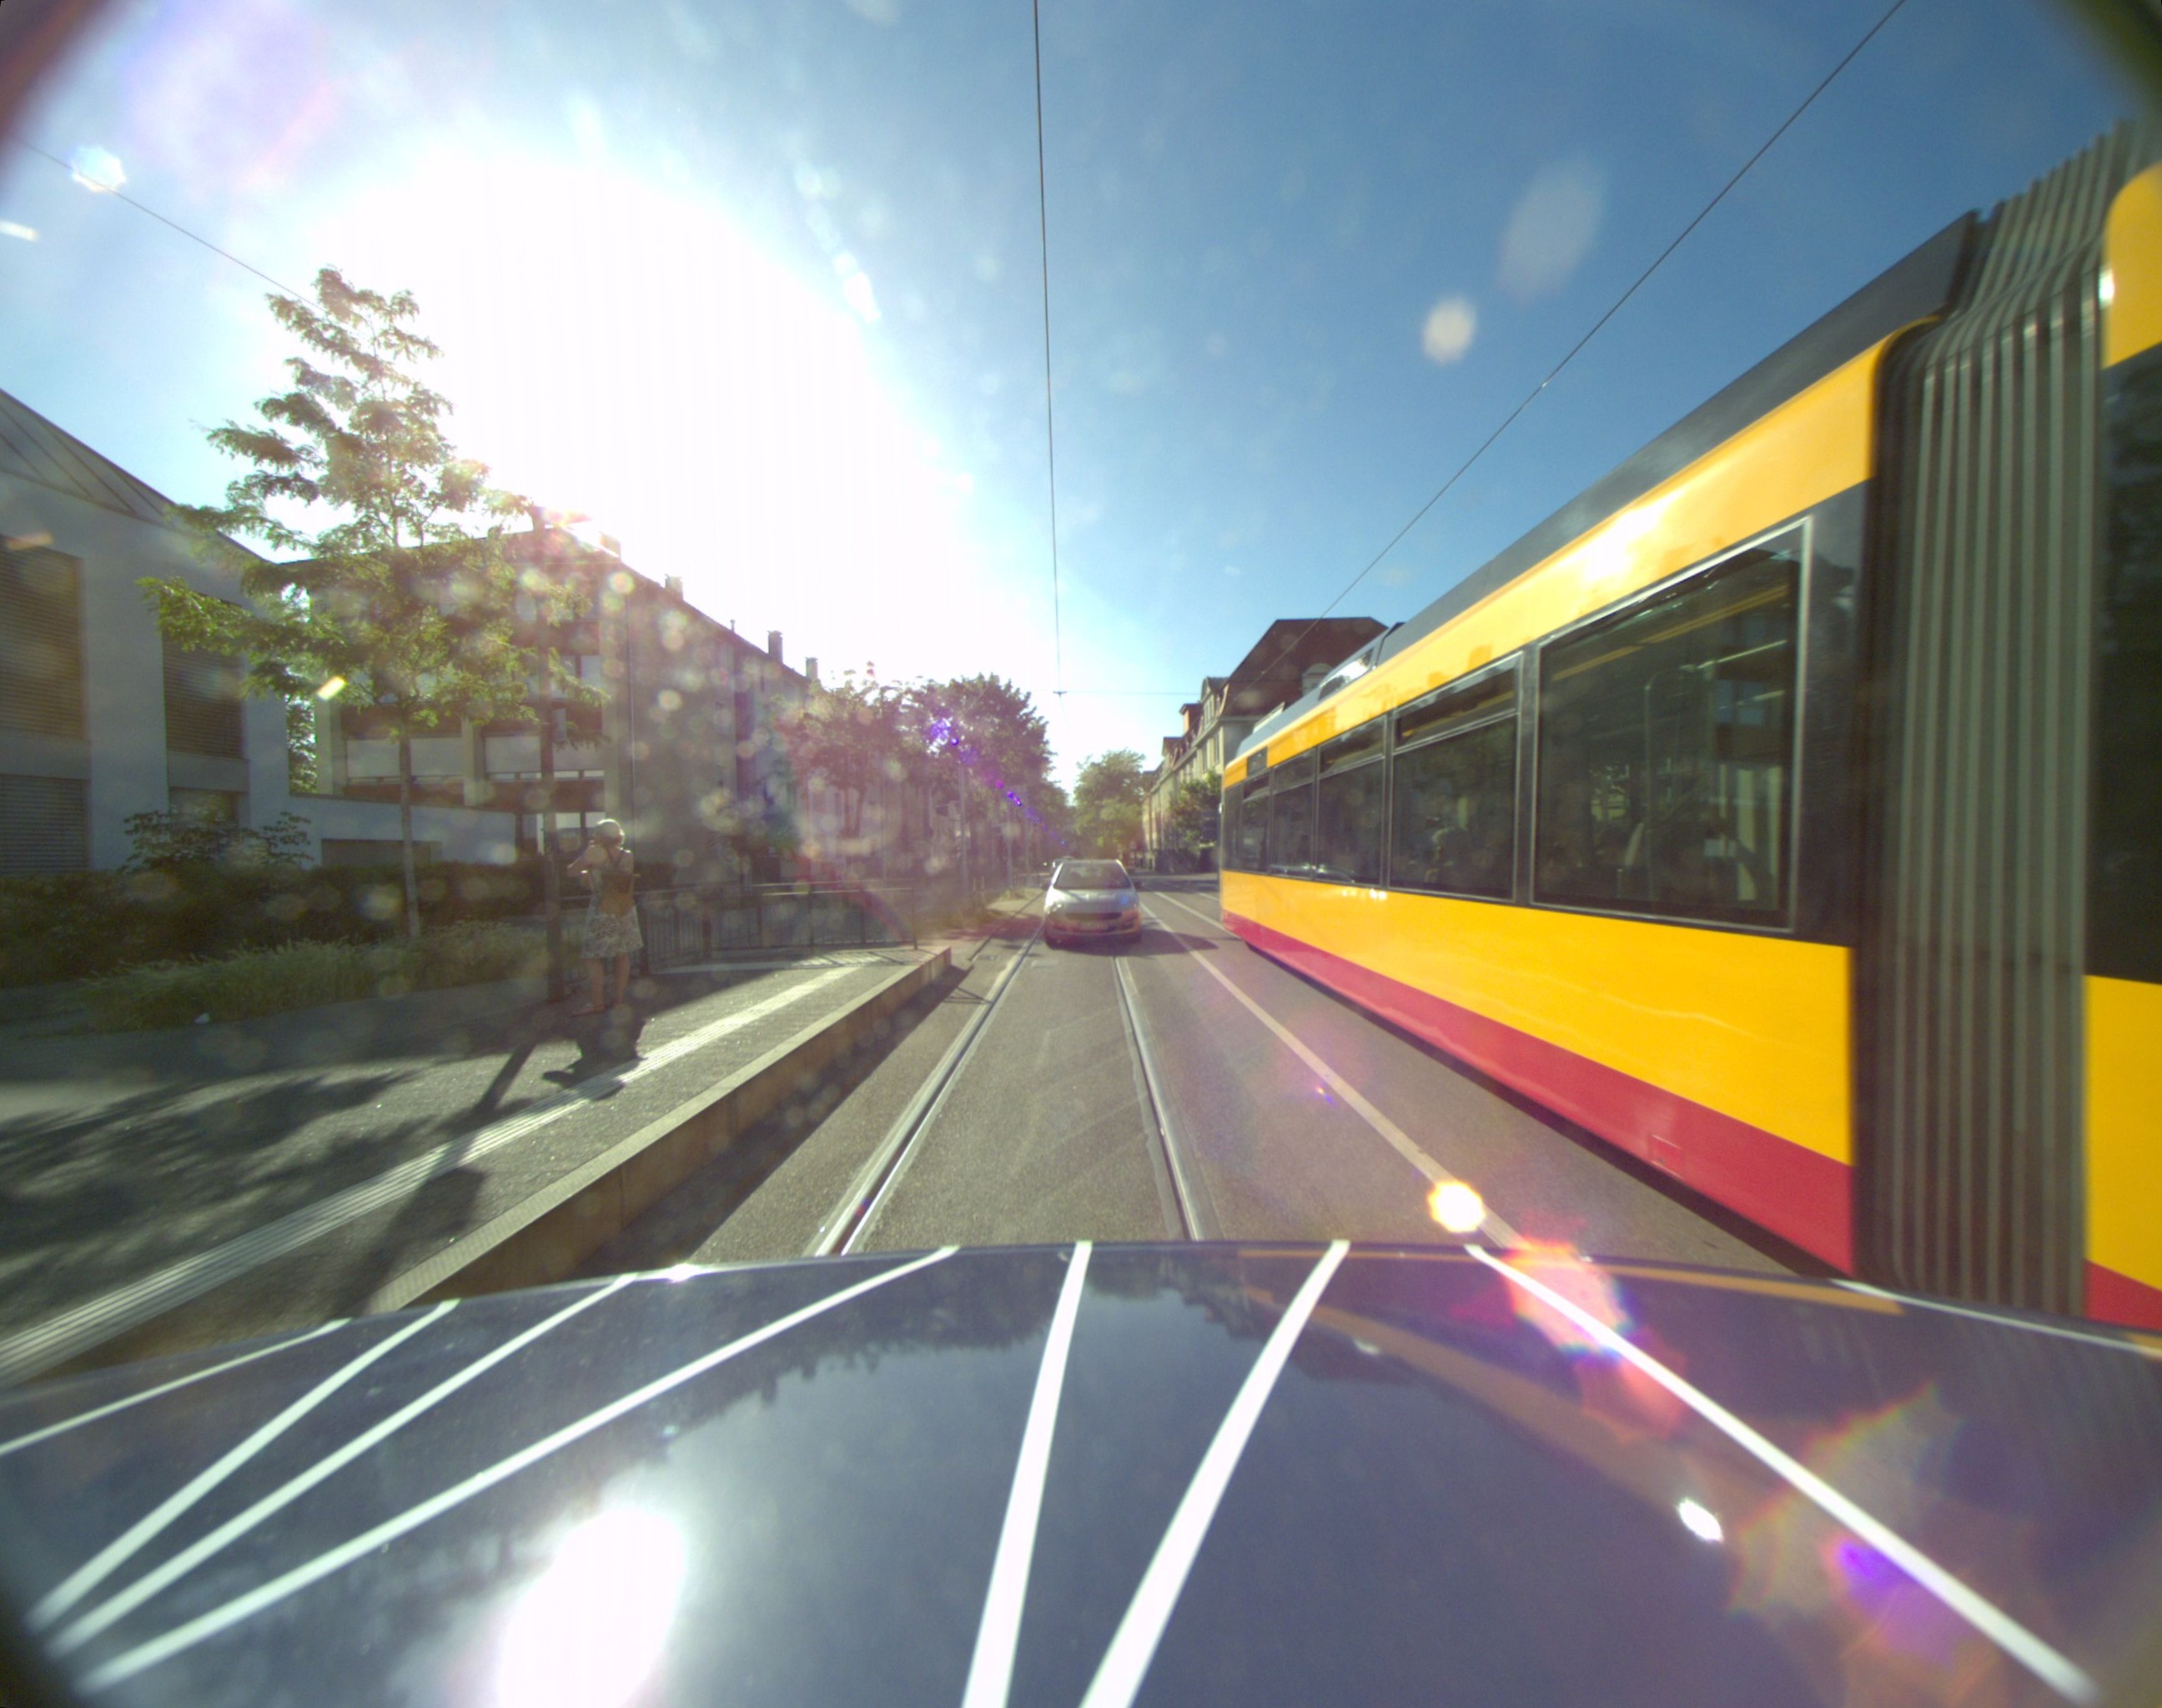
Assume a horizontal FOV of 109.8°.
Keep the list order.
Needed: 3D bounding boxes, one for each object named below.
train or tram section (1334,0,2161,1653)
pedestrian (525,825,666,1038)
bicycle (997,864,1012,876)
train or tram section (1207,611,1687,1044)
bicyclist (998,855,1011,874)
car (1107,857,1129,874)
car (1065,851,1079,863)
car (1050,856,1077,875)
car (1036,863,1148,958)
[{"bbox_3d":[3.443,-0.235,2.794,2.811,3.439,6.668,-2,0,1],"label":"train or tram section"},{"bbox_3d":[-4.117,0.631,6.498,0.673,1.694,0.690,-3,1,0],"label":"pedestrian"},{"bbox_3d":[-6.330,1.321,62.677,0.826,0.880,2.199,-1,0,4],"label":"bicycle"},{"bbox_3d":[3.545,-0.213,9.534,2.811,3.439,6.668,-2,0,1],"label":"train or tram section"},{"bbox_3d":[-6.335,0.859,62.725,0.818,1.491,1.259,-1,0,4],"label":"bicyclist"},{"bbox_3d":[3.387,0.993,69.773,1.742,1.450,4.405,-1,0,0],"label":"car"},{"bbox_3d":[-1.405,0.434,117.782,1.825,1.751,3.692,-3,0,-3],"label":"car"},{"bbox_3d":[-1.475,0.913,61.313,1.743,1.450,3.691,-1,0,-8],"label":"car"},{"bbox_3d":[0.193,0.923,13.957,1.742,1.450,3.693,-1,0,1],"label":"car"}]
